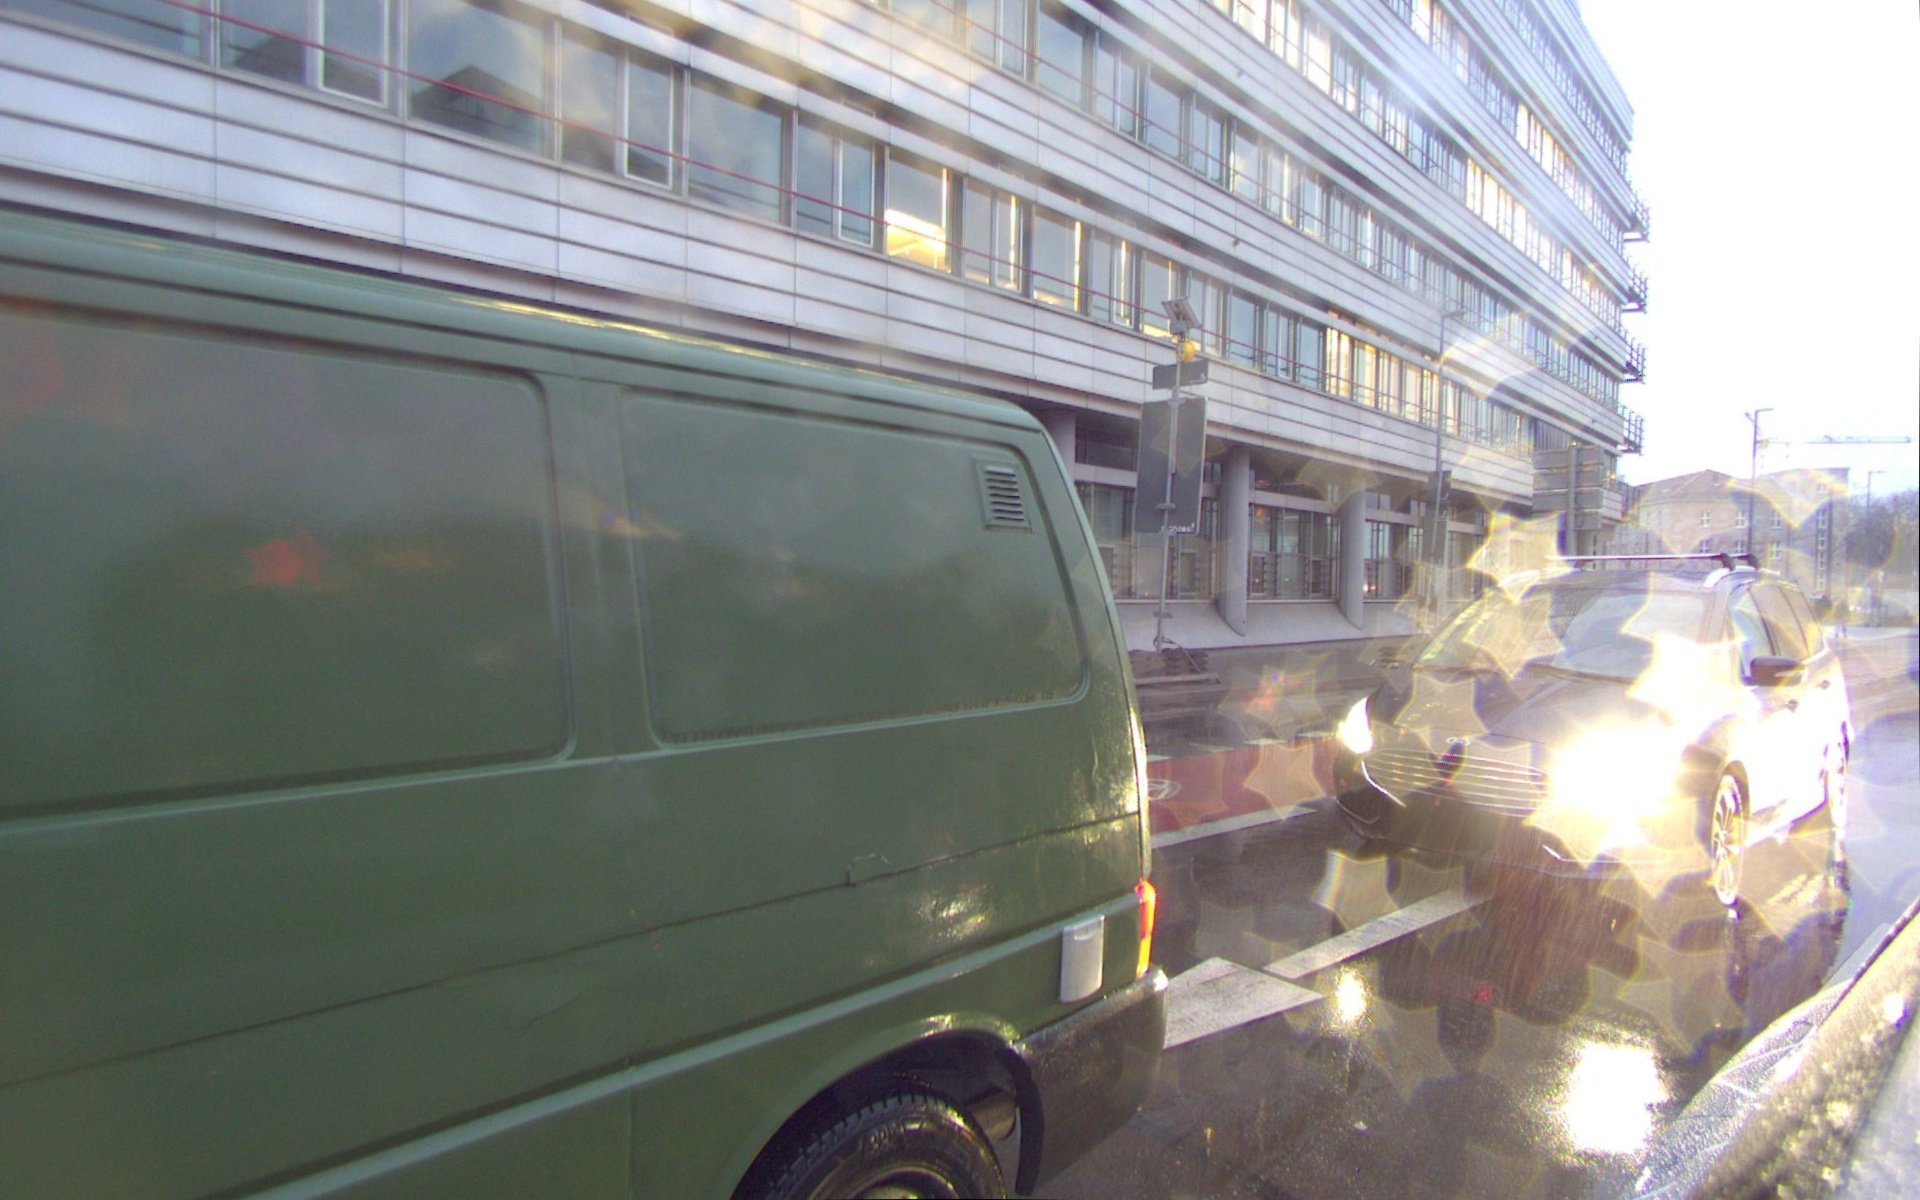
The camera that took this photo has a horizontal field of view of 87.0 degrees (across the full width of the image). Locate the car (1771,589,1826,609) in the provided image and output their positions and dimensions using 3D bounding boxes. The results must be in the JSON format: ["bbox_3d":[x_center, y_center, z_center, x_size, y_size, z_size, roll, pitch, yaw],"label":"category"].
[{"bbox_3d":[81.315,-0.100,98.194,1.757,1.829,3.740,1,1,-26],"label":"car"}]

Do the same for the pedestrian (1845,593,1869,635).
[{"bbox_3d":[36.937,0.573,41.676,0.870,1.689,0.615,0,3,-44],"label":"pedestrian"}]

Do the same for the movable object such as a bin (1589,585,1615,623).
[{"bbox_3d":[24.843,0.154,39.156,0.826,1.446,0.665,0,1,-44],"label":"movable object such as a bin"}]

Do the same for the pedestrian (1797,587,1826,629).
[{"bbox_3d":[36.387,0.313,43.242,0.953,1.722,0.746,0,4,-44],"label":"pedestrian"}]

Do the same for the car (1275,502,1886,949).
[{"bbox_3d":[4.109,0.504,6.345,4.587,1.834,1.887,0,0,-39],"label":"car"}]

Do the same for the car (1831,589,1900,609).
[{"bbox_3d":[74.296,-0.105,83.077,1.743,1.556,3.775,1,1,-24],"label":"car"}]

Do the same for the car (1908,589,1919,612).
[{"bbox_3d":[76.594,0.075,78.587,1.743,1.730,3.932,0,1,-26],"label":"car"}]

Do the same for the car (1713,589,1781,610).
[{"bbox_3d":[71.067,-0.056,91.428,1.958,1.782,4.386,0,1,-24],"label":"car"}]

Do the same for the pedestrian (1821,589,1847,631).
[{"bbox_3d":[36.466,0.403,42.234,0.870,1.723,0.650,0,3,-44],"label":"pedestrian"}]

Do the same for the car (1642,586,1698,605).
[{"bbox_3d":[68.616,-0.458,97.861,1.958,1.693,4.013,0,1,-24],"label":"car"}]

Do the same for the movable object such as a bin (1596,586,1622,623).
[{"bbox_3d":[25.503,0.170,39.741,0.826,1.446,0.665,0,1,-44],"label":"movable object such as a bin"}]

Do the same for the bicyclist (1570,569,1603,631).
[{"bbox_3d":[18.768,-0.007,30.300,0.793,1.820,0.670,0,1,-45],"label":"bicyclist"}]

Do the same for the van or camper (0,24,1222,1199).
[{"bbox_3d":[-1.669,0.459,1.316,4.341,1.931,1.760,0,0,-41],"label":"van or camper"}]

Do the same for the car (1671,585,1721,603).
[{"bbox_3d":[78.256,-0.679,107.671,1.774,1.791,4.009,1,1,-21],"label":"car"}]
